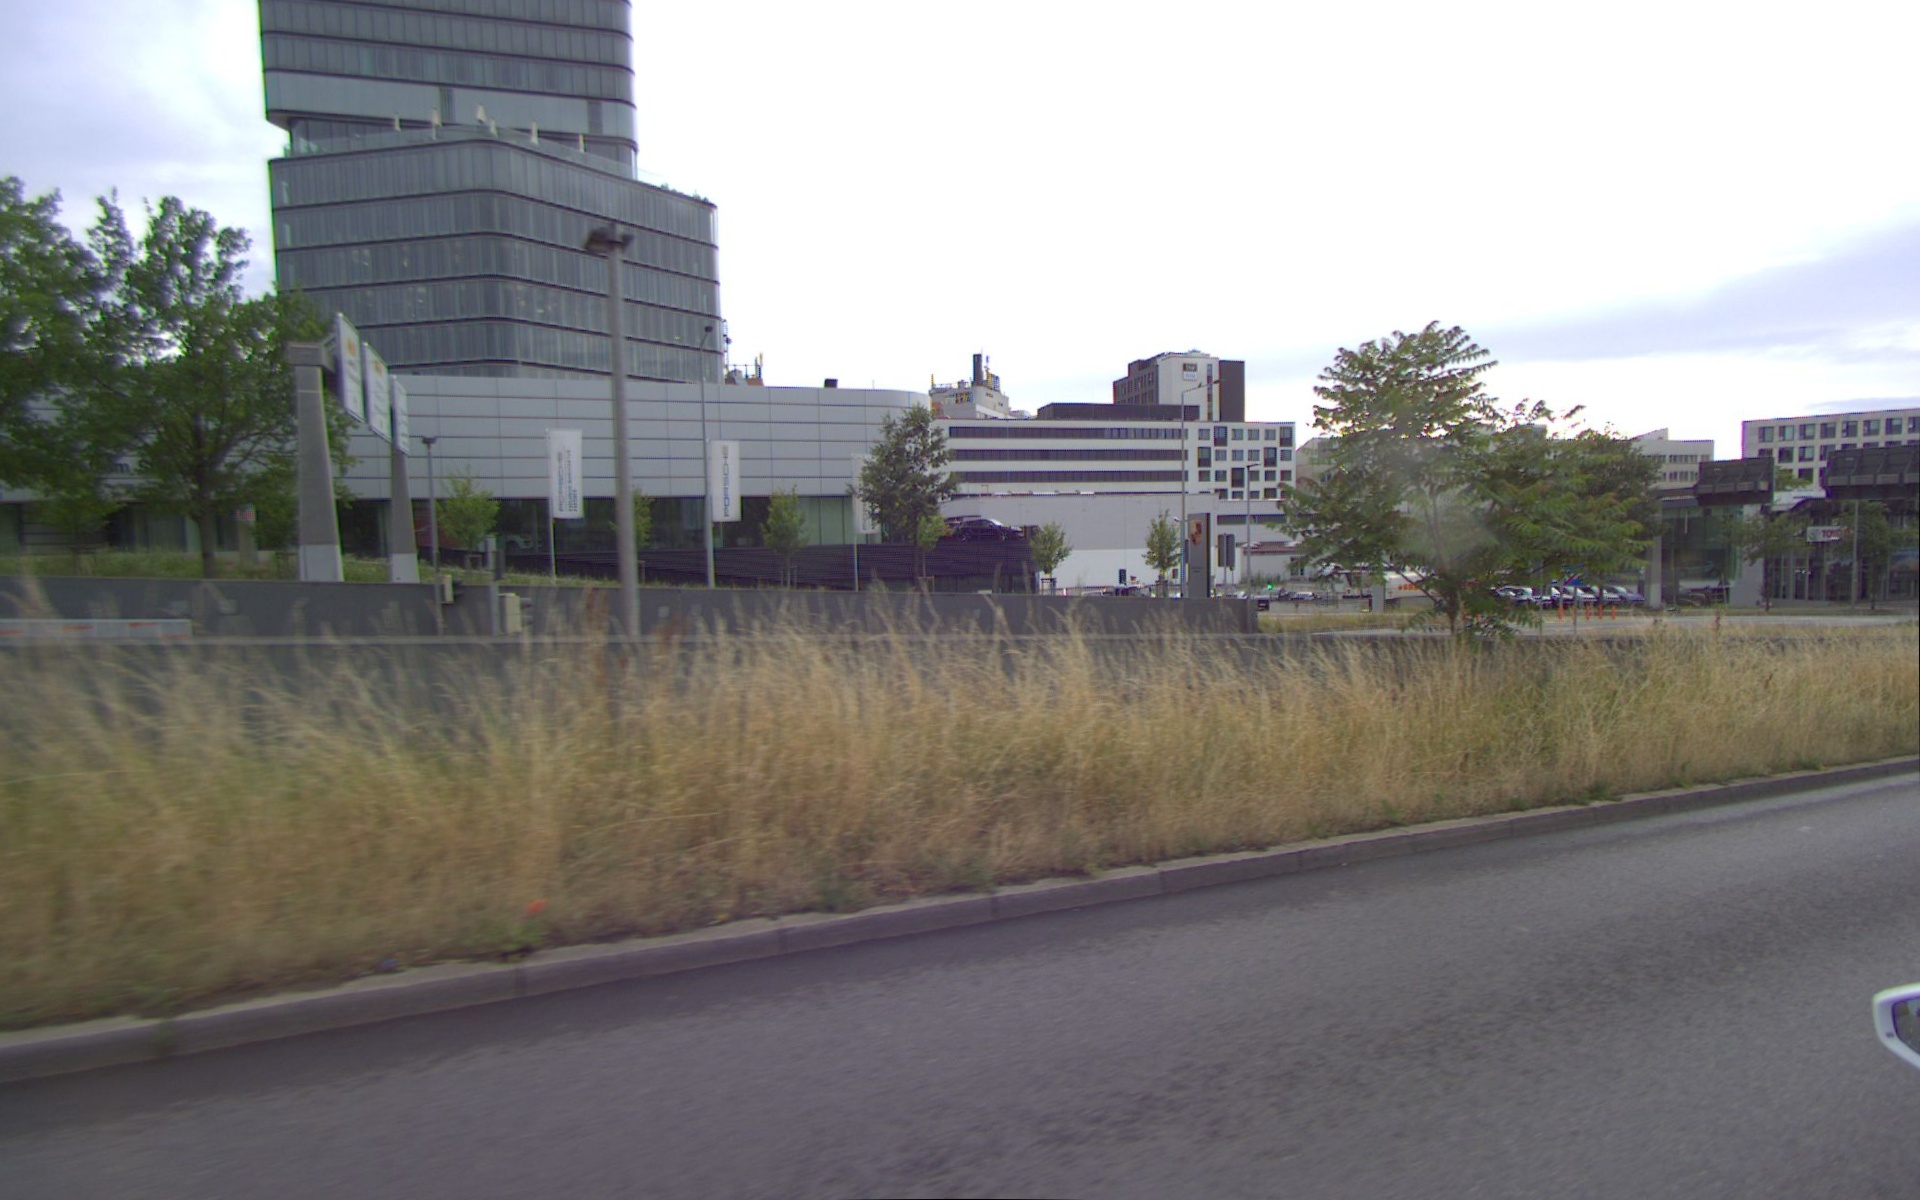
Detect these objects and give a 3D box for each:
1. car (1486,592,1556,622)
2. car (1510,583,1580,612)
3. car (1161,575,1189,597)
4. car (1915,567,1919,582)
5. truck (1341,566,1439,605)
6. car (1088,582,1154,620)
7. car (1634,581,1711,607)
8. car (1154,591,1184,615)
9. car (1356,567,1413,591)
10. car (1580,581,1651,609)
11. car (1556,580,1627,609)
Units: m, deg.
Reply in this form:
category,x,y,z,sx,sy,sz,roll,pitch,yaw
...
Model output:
category,x,y,z,sx,sy,sz,roll,pitch,yaw
car,39.352,0.444,70.578,1.894,1.707,3.980,-3,6,-20
car,41.511,-0.215,71.352,1.894,1.707,3.980,-3,6,-20
car,19.861,-1.305,92.551,1.961,1.729,3.998,1,6,20
car,113.546,-2.843,116.220,1.971,1.674,3.977,-3,6,-23
truck,33.421,-1.157,78.072,7.296,2.563,2.362,-3,6,-19
car,12.786,-0.001,80.064,2.504,2.524,5.109,-4,6,-31
car,53.563,-0.477,75.556,4.415,1.707,1.922,-1,5,-3
car,17.832,0.222,85.565,1.961,1.707,3.998,1,6,20
car,34.605,-1.707,81.878,3.934,1.707,1.916,-2,6,-16
car,48.128,-0.395,73.871,1.894,1.707,3.980,-3,6,-20
car,45.935,-0.452,73.162,1.894,1.707,3.980,-3,6,-20
